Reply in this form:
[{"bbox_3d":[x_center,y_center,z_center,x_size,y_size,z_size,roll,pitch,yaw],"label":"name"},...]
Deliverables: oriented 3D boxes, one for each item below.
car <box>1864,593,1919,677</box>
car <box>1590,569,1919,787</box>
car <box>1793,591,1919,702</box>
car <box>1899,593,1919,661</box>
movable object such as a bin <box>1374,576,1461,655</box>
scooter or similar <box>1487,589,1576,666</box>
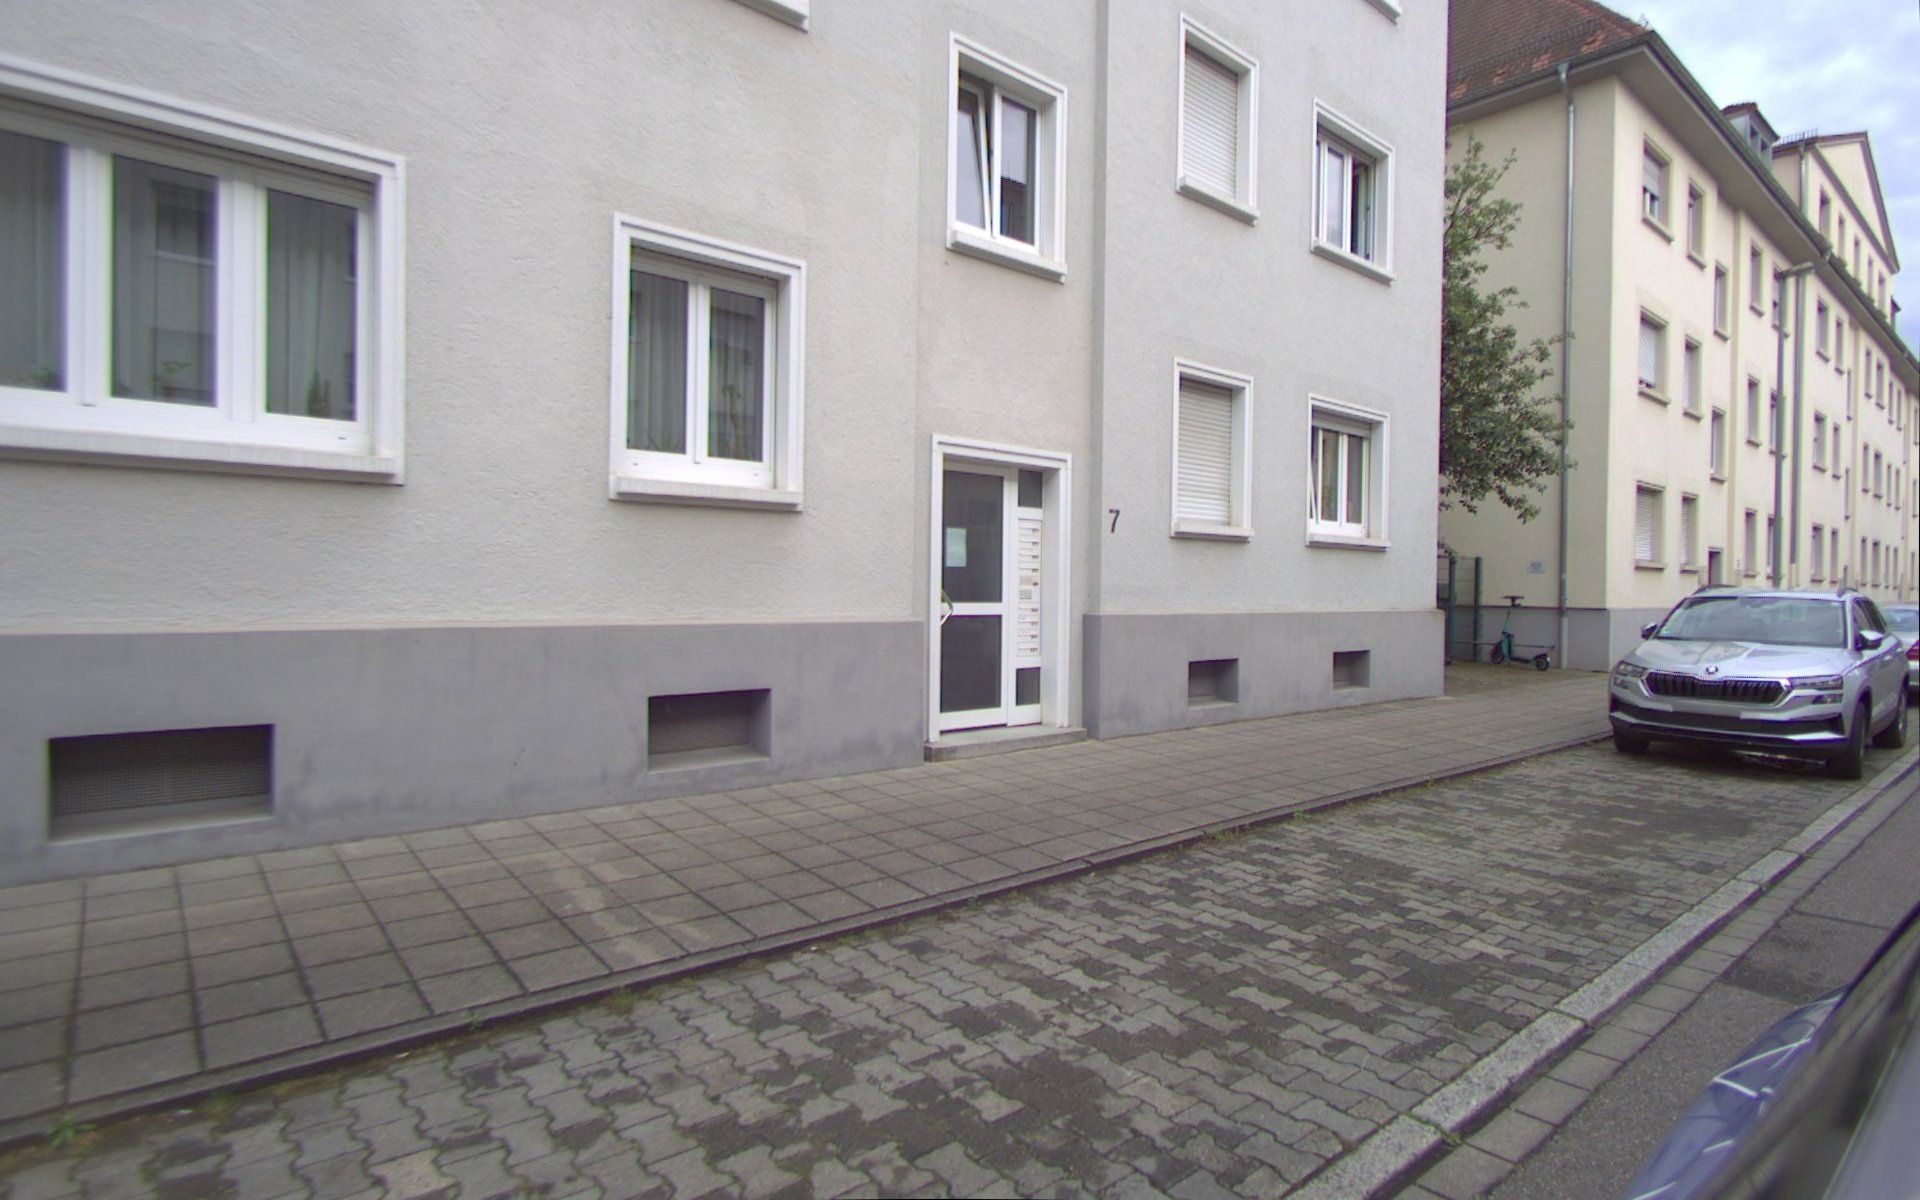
[{"bbox_3d":[18.584,0.617,19.241,3.801,1.495,1.606,0,0,-41],"label":"car"},{"bbox_3d":[7.853,0.572,9.771,4.018,1.663,1.824,0,1,-40],"label":"car"},{"bbox_3d":[14.414,0.625,15.458,4.422,1.495,1.729,0,1,-38],"label":"car"},{"bbox_3d":[22.398,0.576,22.569,3.767,1.468,1.851,0,0,-43],"label":"car"},{"bbox_3d":[8.524,0.262,18.857,1.283,1.396,1.034,0,1,-41],"label":"movable object such as a bin"},{"bbox_3d":[9.875,0.457,17.526,0.512,1.261,1.284,1,1,-23],"label":"scooter or similar"}]
